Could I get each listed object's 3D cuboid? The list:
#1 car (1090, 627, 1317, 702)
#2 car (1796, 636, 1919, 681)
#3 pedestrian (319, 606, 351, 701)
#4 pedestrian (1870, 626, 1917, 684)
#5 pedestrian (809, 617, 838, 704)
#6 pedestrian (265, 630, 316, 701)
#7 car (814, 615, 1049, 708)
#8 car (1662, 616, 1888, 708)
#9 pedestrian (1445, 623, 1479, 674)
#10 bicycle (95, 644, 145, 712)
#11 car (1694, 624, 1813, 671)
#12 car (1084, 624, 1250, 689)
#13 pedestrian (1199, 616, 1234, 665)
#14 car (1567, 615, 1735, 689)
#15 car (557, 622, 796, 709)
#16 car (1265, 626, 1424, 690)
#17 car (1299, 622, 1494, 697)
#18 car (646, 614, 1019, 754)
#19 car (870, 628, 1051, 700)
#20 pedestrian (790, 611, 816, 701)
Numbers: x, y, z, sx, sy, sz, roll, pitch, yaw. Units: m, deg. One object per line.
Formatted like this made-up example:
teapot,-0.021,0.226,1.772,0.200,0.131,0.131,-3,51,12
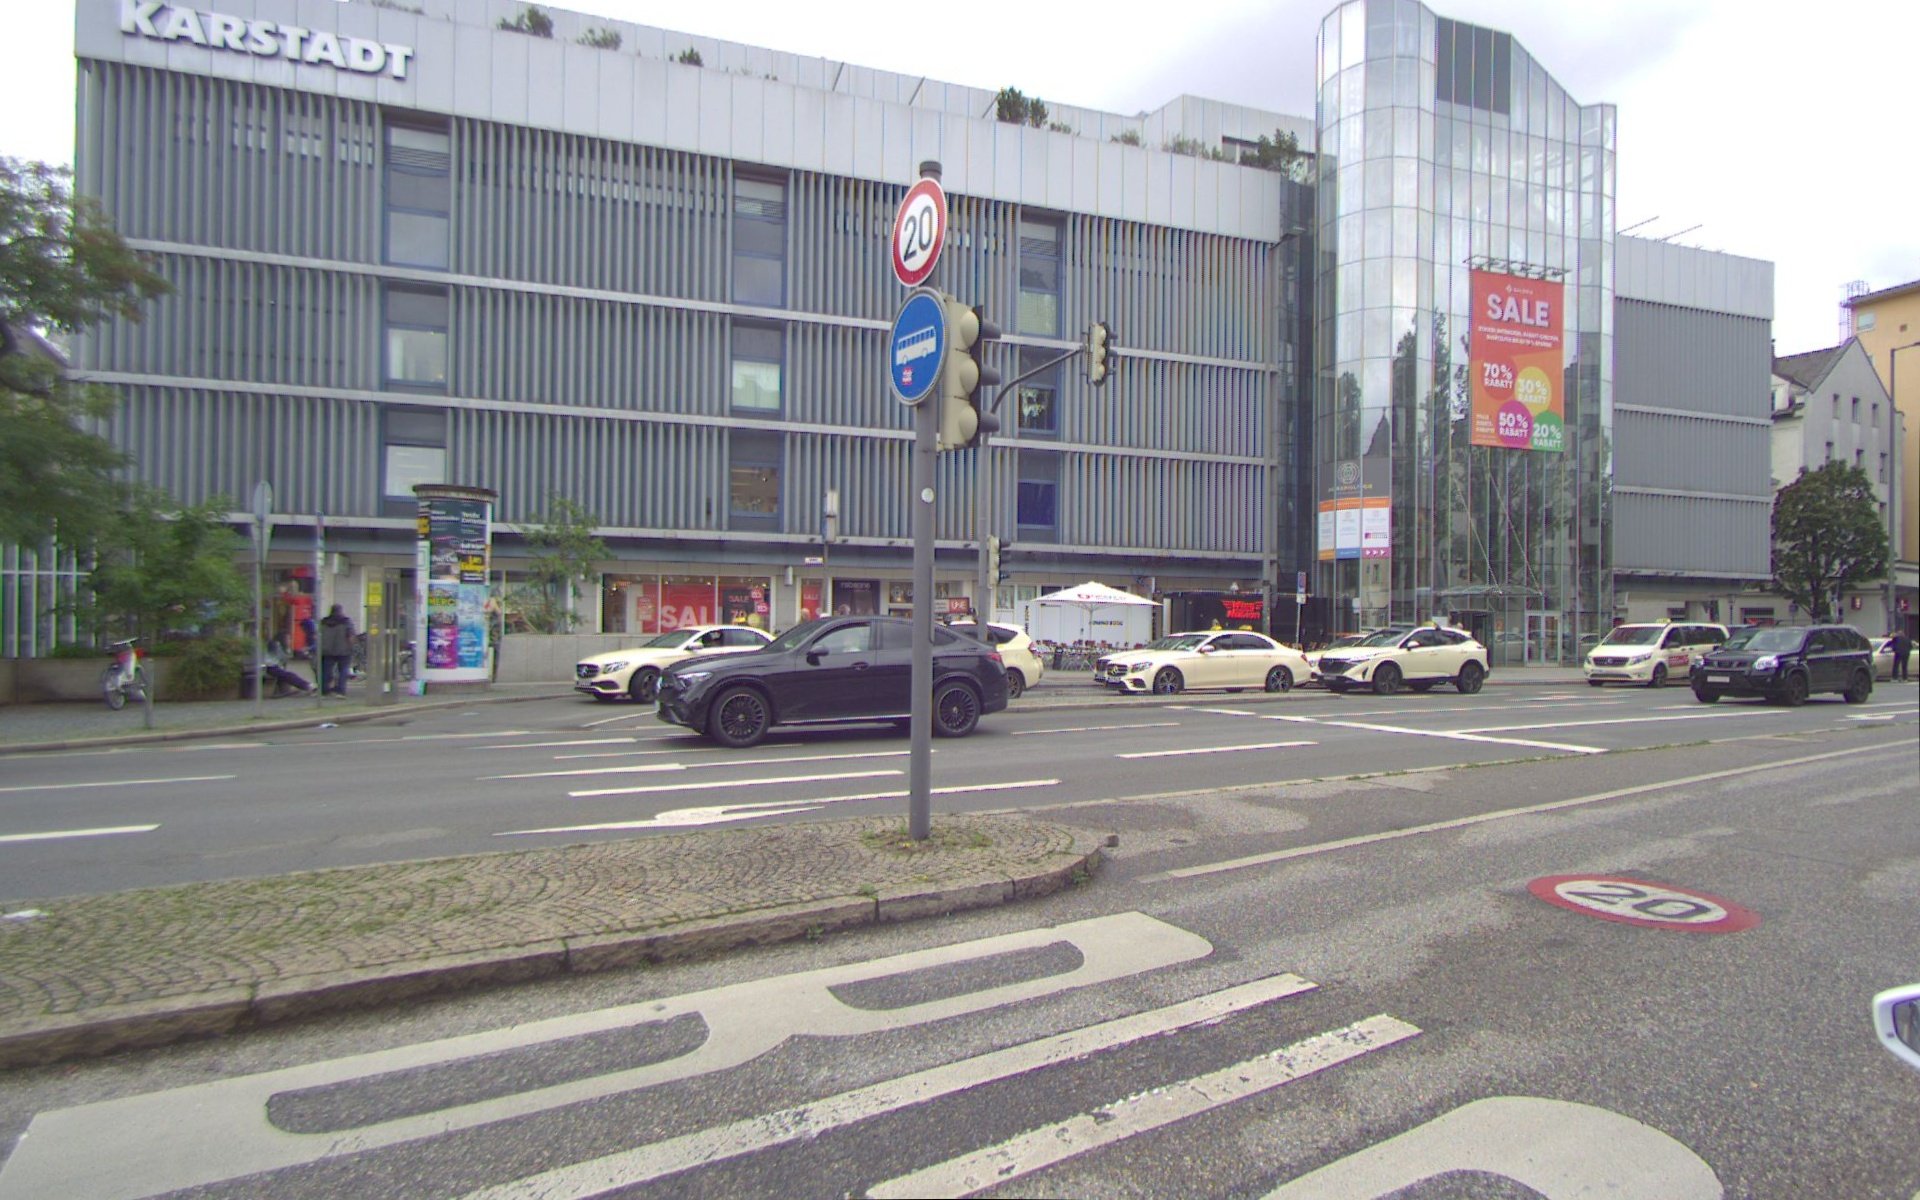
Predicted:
car,5.520,1.410,22.776,4.776,1.561,1.943,1,-1,-22
car,31.763,2.012,34.753,4.899,1.488,1.858,1,-3,-15
pedestrian,-11.566,0.983,18.601,0.454,1.722,0.428,2,0,-31
pedestrian,31.046,1.815,33.426,0.830,1.892,0.788,0,-1,-1
pedestrian,-2.662,1.171,19.568,0.420,1.677,0.362,2,0,-31
pedestrian,-12.878,1.246,19.346,0.765,1.325,0.540,1,-1,-30
car,-0.495,1.151,19.631,4.426,1.633,1.579,1,-2,-32
car,17.485,1.267,21.544,4.536,1.801,1.988,1,-1,-25
pedestrian,18.505,1.779,37.055,0.805,1.829,0.788,1,-1,-19
bicycle,-13.478,1.227,16.134,0.415,1.030,1.287,1,-2,-32
car,35.583,2.104,45.042,5.038,2.040,1.990,1,-1,-22
car,5.366,1.430,26.039,3.943,1.557,1.748,1,-2,-23
pedestrian,8.330,1.302,32.640,0.885,1.566,0.731,1,-1,-18
car,20.763,1.538,30.143,5.255,2.040,1.986,1,-2,-28
car,-5.542,1.219,20.012,1.835,1.530,4.271,-1,-2,45
car,10.554,1.562,27.610,3.941,1.637,1.769,1,-2,-22
car,10.729,1.429,24.733,4.316,1.721,1.883,1,-3,-20
car,-1.679,1.015,13.378,4.555,1.597,1.987,1,-2,-26
car,0.026,1.469,24.109,3.950,1.587,1.899,1,-1,-28
pedestrian,-3.112,1.110,19.955,0.420,1.752,0.525,2,0,-3
